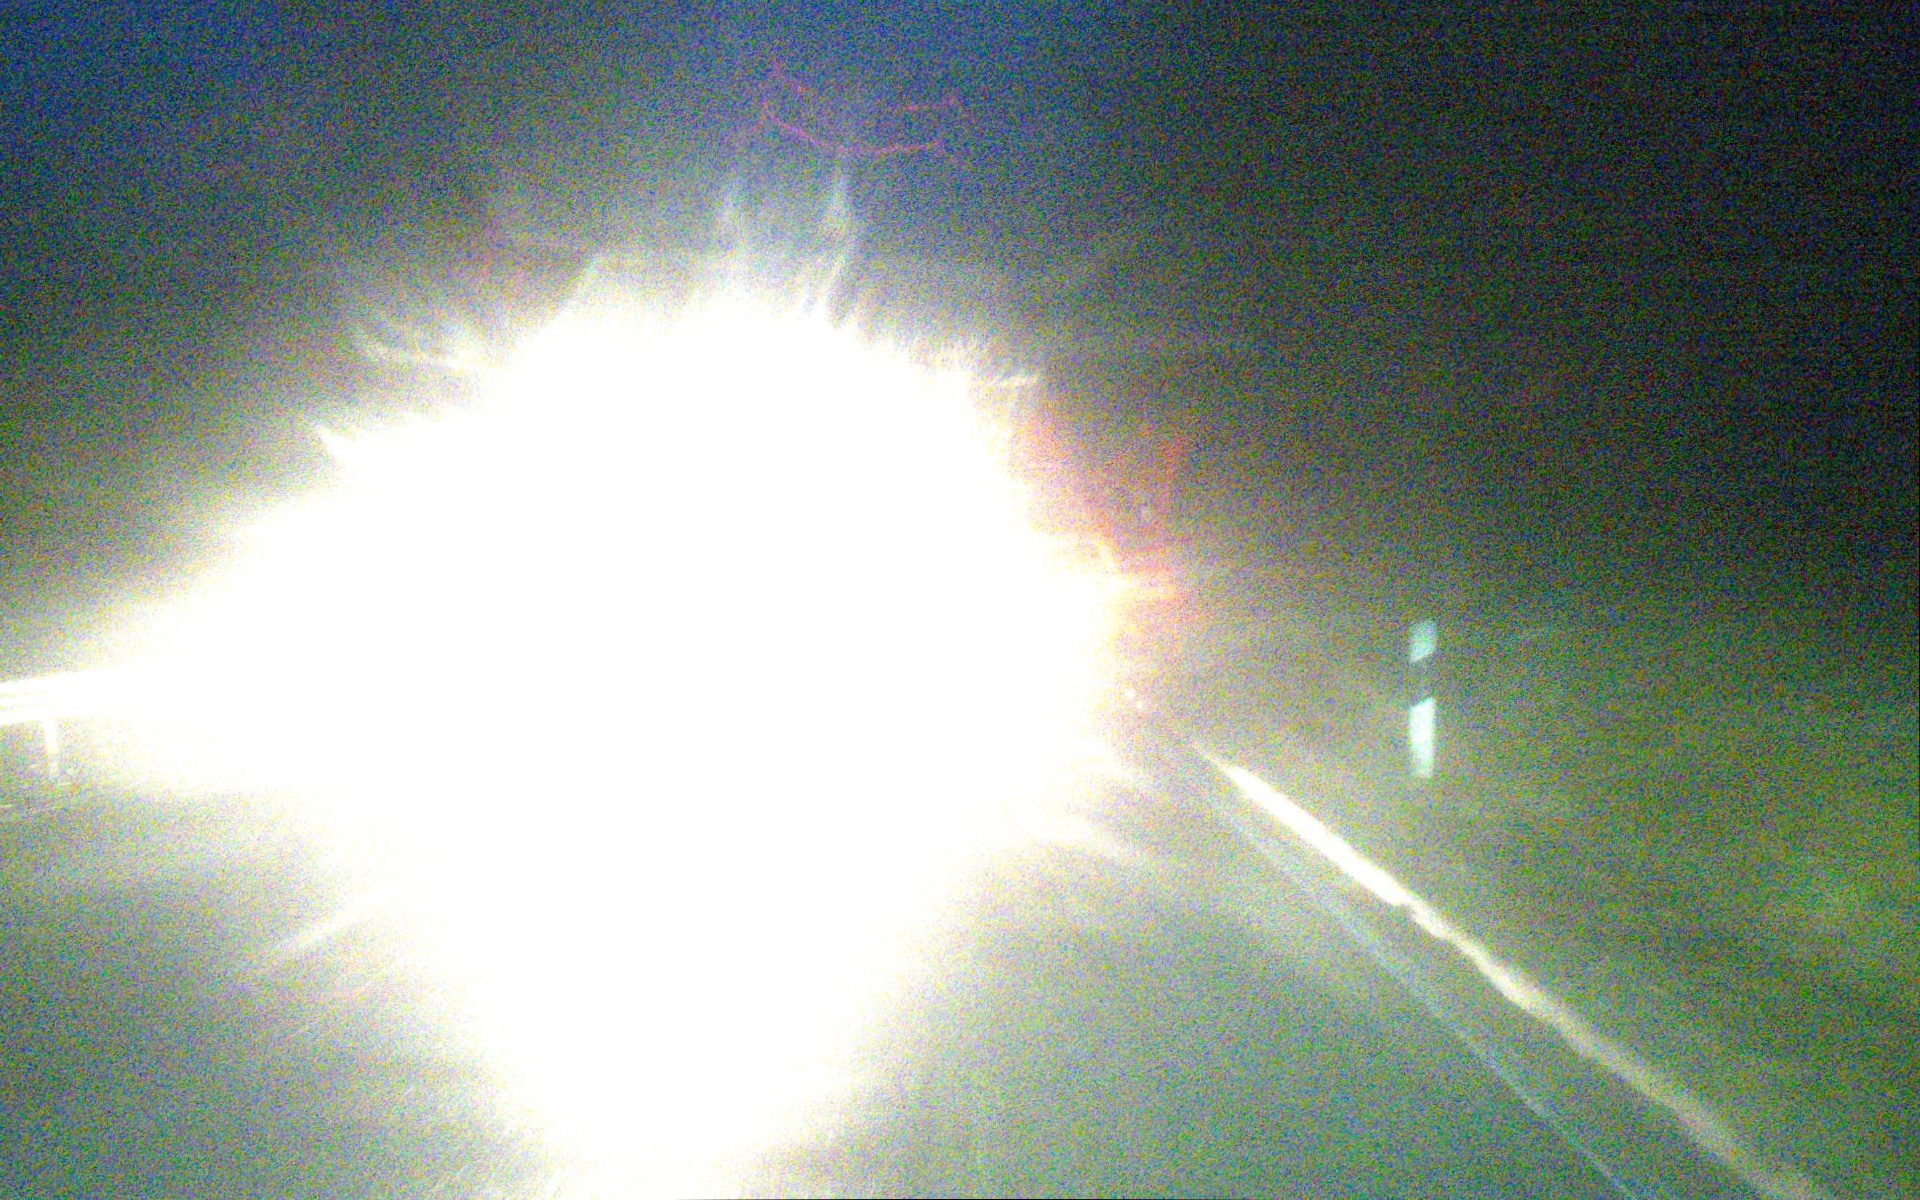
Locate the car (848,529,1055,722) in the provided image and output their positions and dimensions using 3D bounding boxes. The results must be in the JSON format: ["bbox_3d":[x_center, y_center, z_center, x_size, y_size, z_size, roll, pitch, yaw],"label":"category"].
[{"bbox_3d":[-0.147,0.221,37.238,1.993,1.800,3.918,-2,3,-3],"label":"car"}]

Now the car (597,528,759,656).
[{"bbox_3d":[-3.989,-0.158,49.311,1.800,1.574,4.457,-5,1,1],"label":"car"}]
